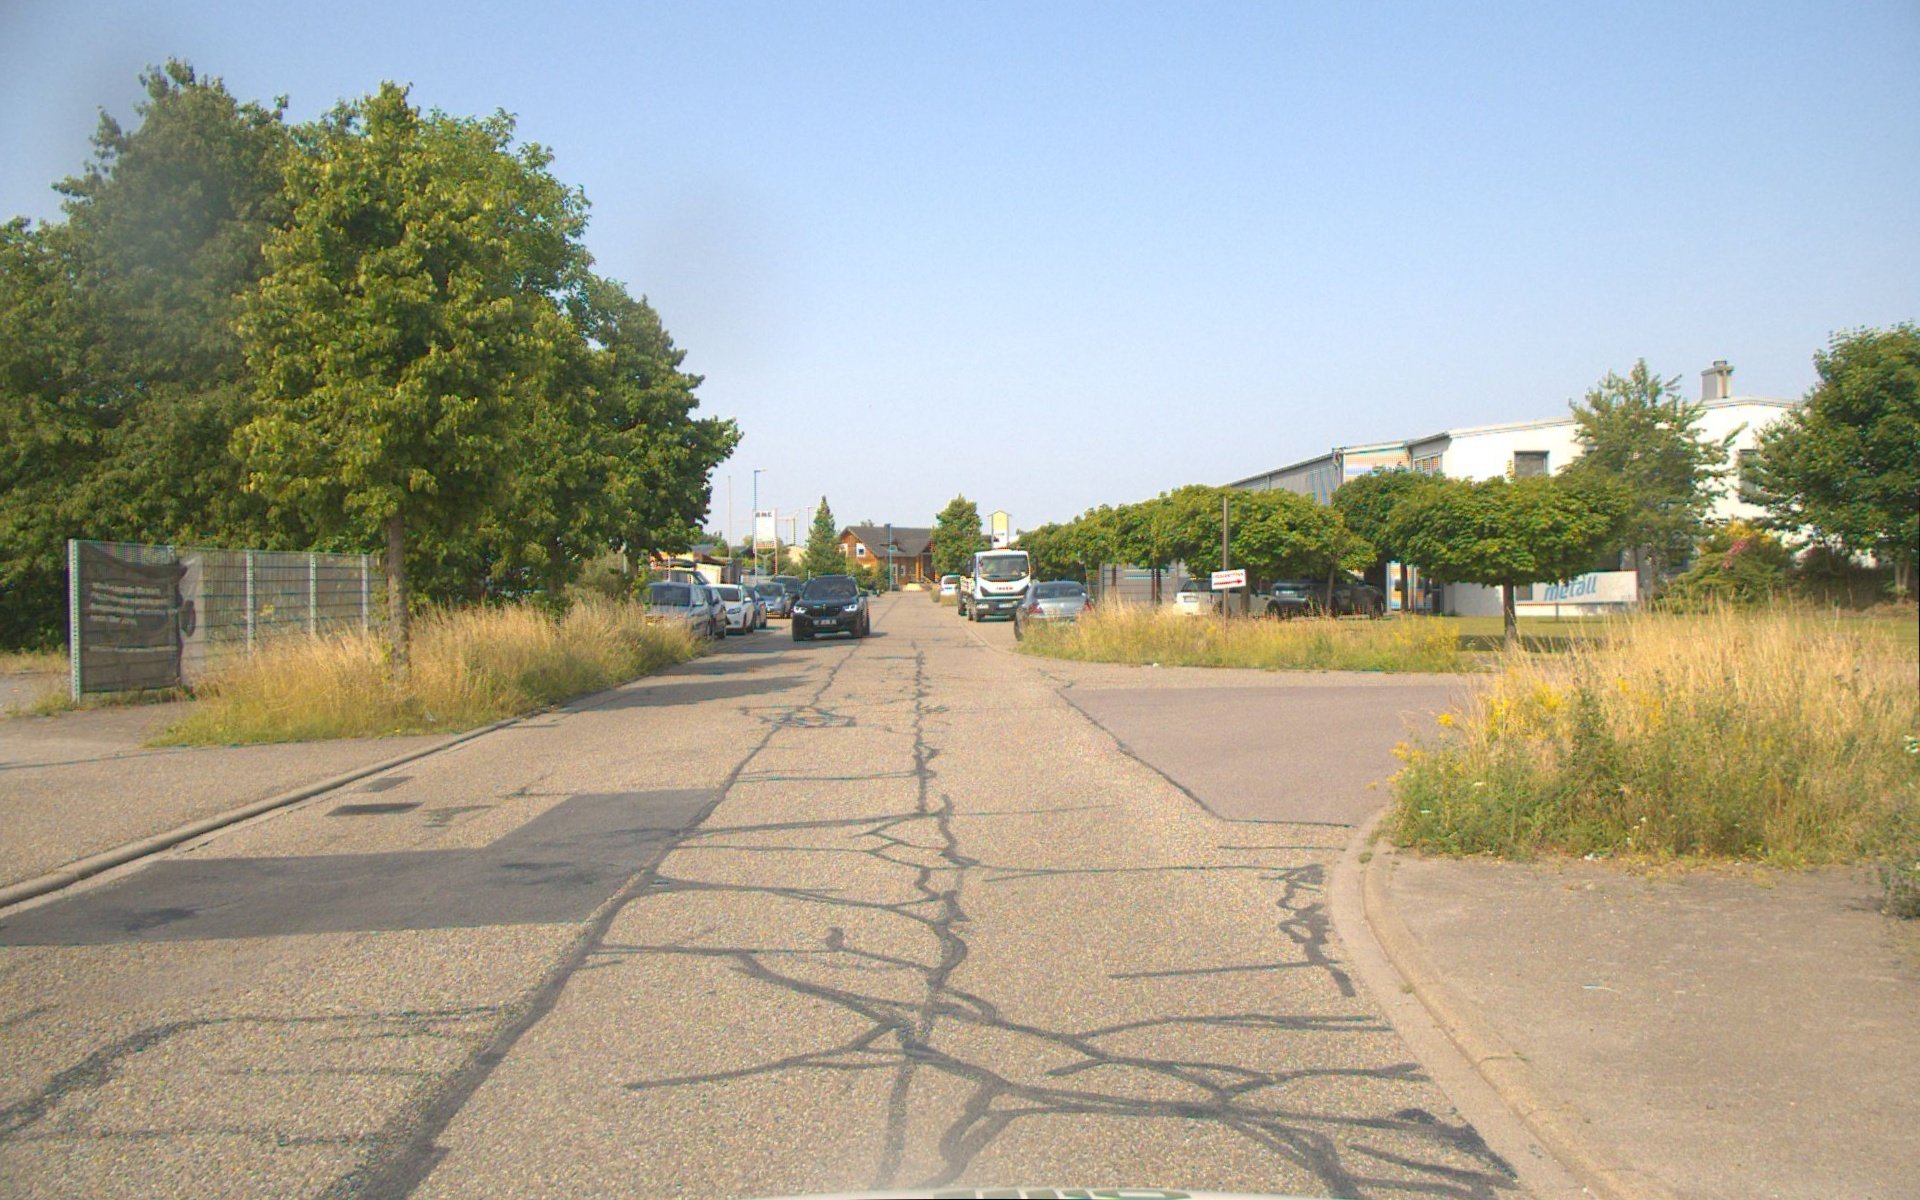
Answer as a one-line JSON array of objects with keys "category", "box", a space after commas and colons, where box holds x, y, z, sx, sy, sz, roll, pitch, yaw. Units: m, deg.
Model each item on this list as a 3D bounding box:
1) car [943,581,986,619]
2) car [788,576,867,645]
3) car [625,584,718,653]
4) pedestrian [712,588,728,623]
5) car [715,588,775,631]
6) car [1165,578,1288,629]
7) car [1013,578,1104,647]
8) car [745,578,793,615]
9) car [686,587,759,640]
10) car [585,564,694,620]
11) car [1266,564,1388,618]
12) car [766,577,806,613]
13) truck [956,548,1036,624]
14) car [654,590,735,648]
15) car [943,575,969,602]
[{"category": "car", "box": [0.185, -0.019, 73.357, 1.758, 1.588, 3.999, -1, 0, -2]}, {"category": "car", "box": [-3.580, 0.254, 45.315, 1.818, 1.744, 4.226, -2, 1, -1]}, {"category": "car", "box": [-6.952, 0.411, 40.087, 1.534, 1.565, 3.688, 1, 0, 1]}, {"category": "pedestrian", "box": [-12.015, 0.275, 82.874, 0.558, 1.745, 0.526, -2, 0, -39]}, {"category": "car", "box": [-7.369, 0.295, 56.962, 1.600, 1.411, 4.368, 1, 0, -2]}, {"category": "car", "box": [7.853, 0.081, 48.617, 3.666, 1.404, 1.662, -2, 1, -42]}, {"category": "car", "box": [2.312, 0.263, 39.907, 1.758, 1.544, 4.422, -1, 0, -2]}, {"category": "car", "box": [-8.297, -0.162, 72.011, 1.599, 1.544, 3.606, 1, 0, 1]}, {"category": "car", "box": [-7.073, 0.381, 49.567, 1.649, 1.495, 4.252, 1, 0, -2]}, {"category": "car", "box": [-14.485, -0.365, 74.943, 4.531, 2.459, 2.000, -1, 0, 0]}, {"category": "car", "box": [11.599, -0.311, 52.101, 1.658, 1.616, 4.504, -1, 1, 43]}, {"category": "car", "box": [-9.052, -0.282, 86.194, 1.764, 1.805, 4.201, 1, 0, -2]}, {"category": "truck", "box": [1.304, -0.525, 63.501, 2.313, 2.728, 6.504, -1, 0, -5]}, {"category": "car", "box": [-7.119, 0.485, 44.641, 1.546, 1.469, 3.963, 1, 0, 0]}, {"category": "car", "box": [-0.312, -0.854, 125.703, 1.800, 1.957, 3.755, -2, 1, -2]}]
